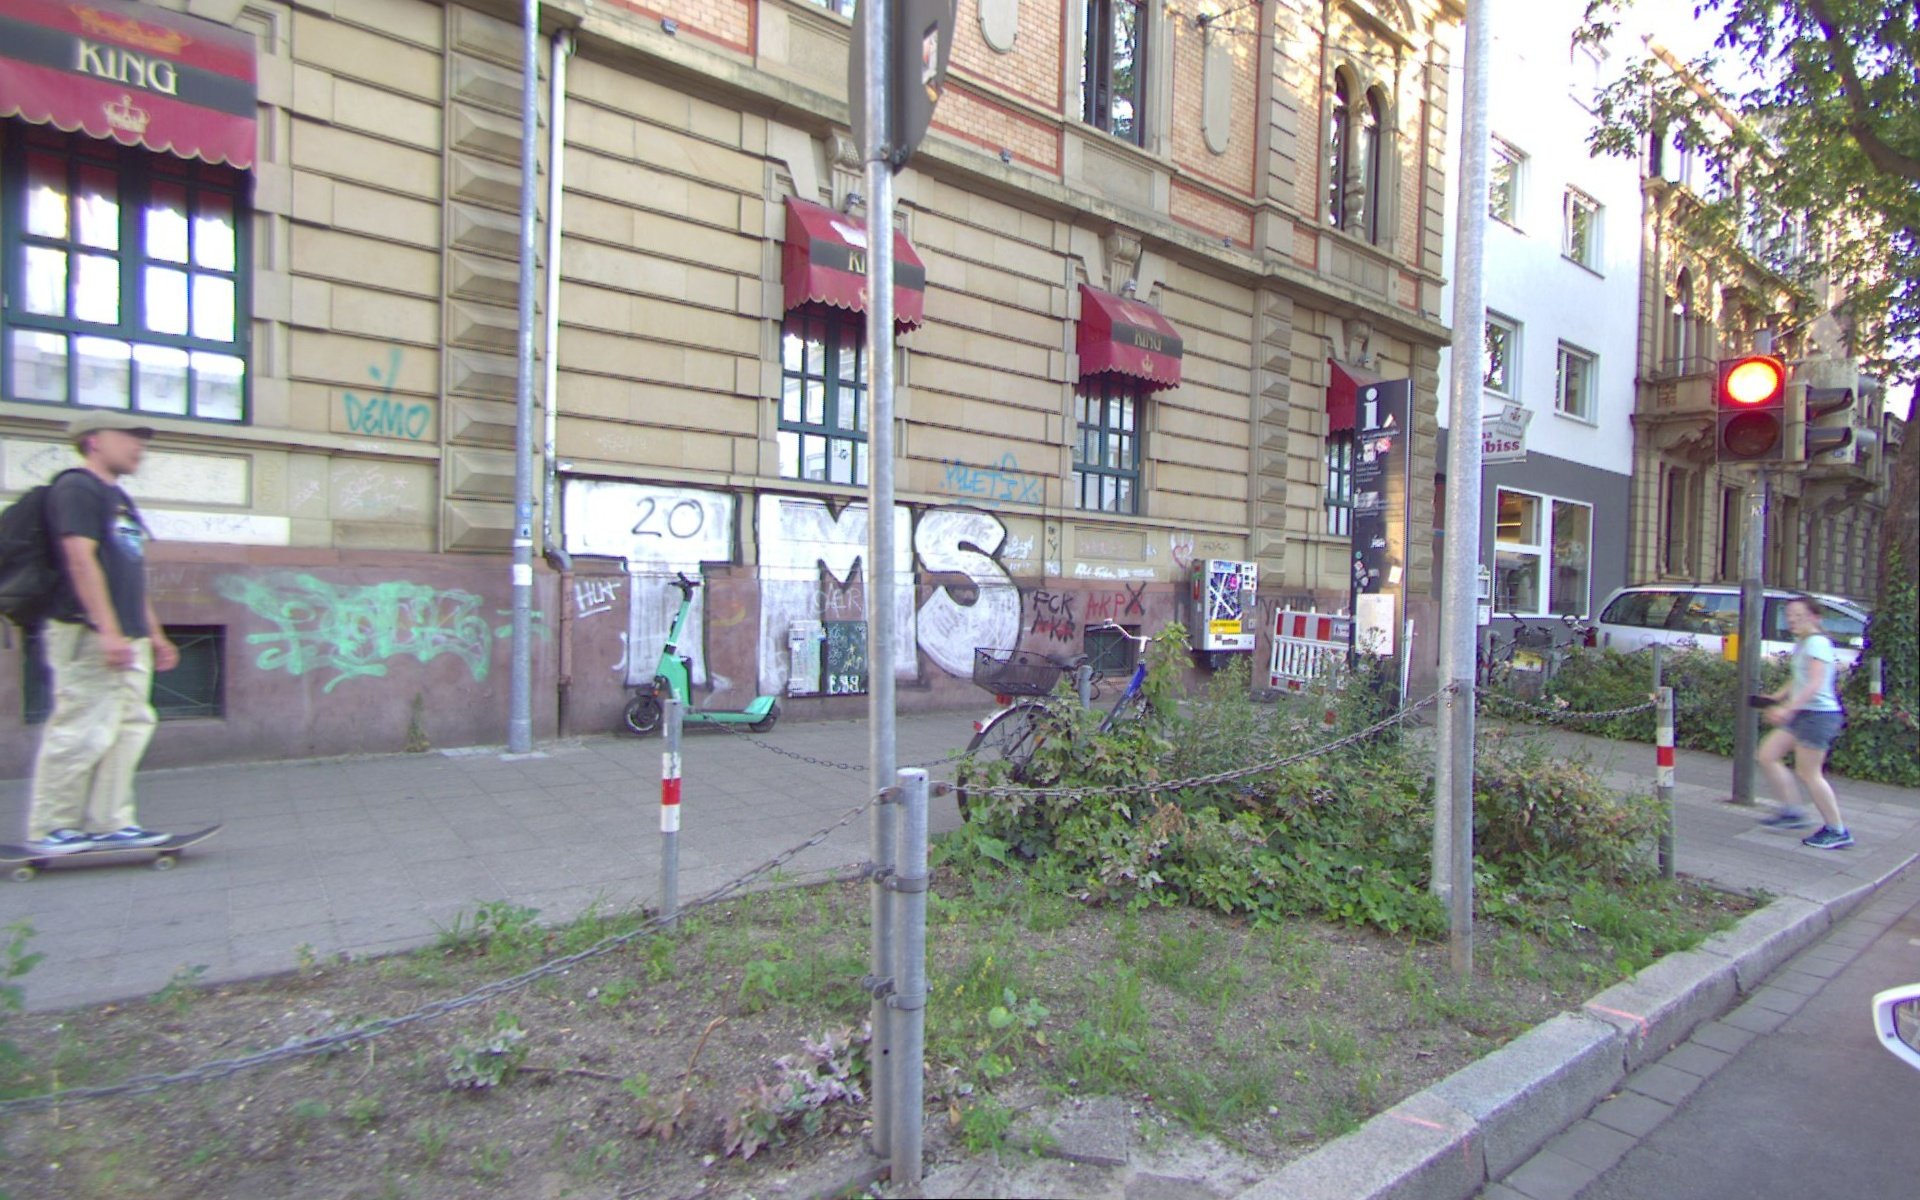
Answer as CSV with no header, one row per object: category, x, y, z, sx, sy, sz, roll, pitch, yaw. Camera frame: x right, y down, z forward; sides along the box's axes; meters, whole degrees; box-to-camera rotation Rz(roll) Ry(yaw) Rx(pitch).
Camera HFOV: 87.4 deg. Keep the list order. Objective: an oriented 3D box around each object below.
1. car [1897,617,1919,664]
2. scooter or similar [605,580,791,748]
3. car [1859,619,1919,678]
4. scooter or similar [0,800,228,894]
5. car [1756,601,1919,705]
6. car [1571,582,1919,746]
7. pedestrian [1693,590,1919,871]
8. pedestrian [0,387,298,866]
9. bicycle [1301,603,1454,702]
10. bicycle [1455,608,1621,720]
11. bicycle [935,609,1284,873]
car,34.742,1.433,34.093,1.816,1.611,4.010,1,0,-36
scooter or similar,-1.975,0.466,7.587,1.270,1.183,0.437,2,2,-26
car,24.648,1.232,23.946,1.816,1.390,4.516,1,0,-36
scooter or similar,-3.509,0.986,4.026,0.871,0.210,0.415,1,2,-28
car,16.843,0.926,17.360,1.816,1.711,4.516,1,0,-36
car,10.763,0.723,13.006,1.818,1.859,4.510,1,0,-39
pedestrian,5.351,0.756,6.341,0.962,1.578,0.700,4,2,27
pedestrian,-3.551,0.087,4.148,1.250,1.762,0.845,-1,2,-28
bicycle,5.594,0.670,13.375,2.539,1.218,0.632,1,0,-36
bicycle,7.072,0.736,12.214,2.609,1.202,0.729,1,2,-37
bicycle,0.871,0.652,5.362,2.082,1.169,0.506,1,3,-38
